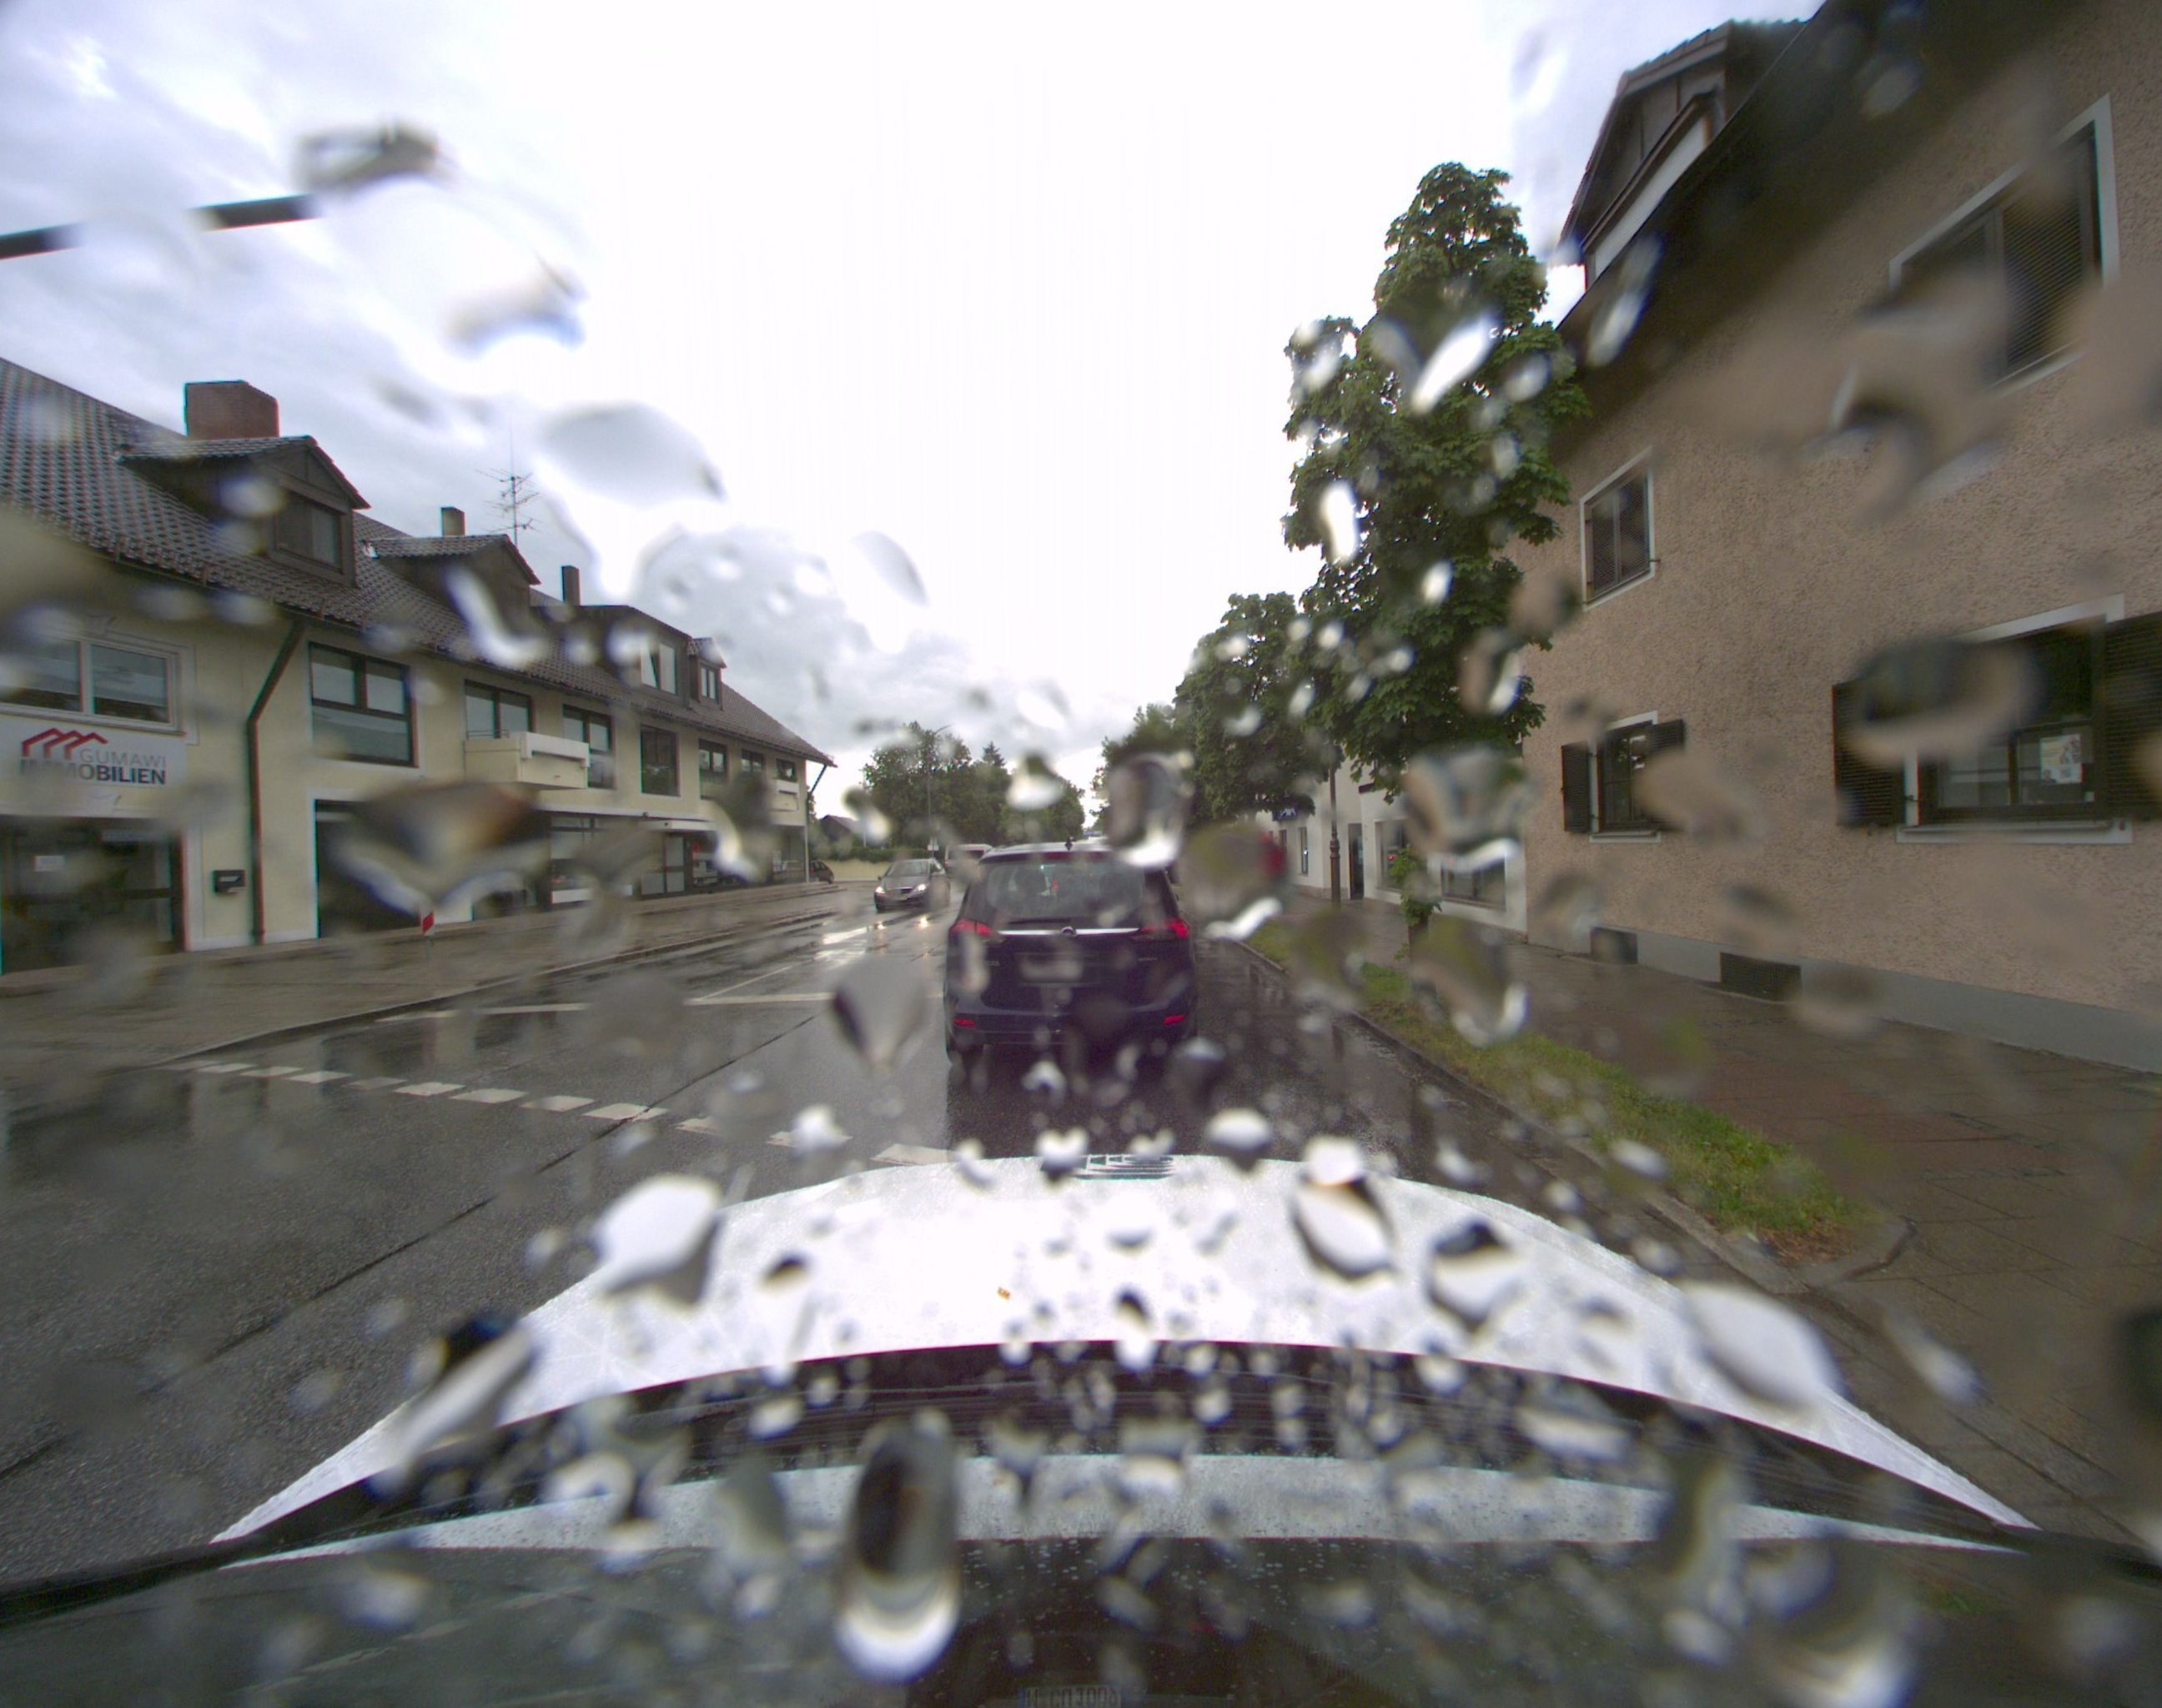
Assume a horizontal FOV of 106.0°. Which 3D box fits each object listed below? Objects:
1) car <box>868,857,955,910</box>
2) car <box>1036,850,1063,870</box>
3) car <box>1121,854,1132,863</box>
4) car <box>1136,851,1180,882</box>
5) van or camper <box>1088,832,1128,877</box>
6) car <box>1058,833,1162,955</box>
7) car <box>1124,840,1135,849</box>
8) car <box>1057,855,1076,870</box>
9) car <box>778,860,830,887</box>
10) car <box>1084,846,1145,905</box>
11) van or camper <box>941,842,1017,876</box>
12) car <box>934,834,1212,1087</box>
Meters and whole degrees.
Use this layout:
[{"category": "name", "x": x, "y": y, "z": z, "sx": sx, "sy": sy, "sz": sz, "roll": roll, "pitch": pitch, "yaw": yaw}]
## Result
[{"category": "car", "x": -5.491, "y": 0.906, "z": 26.862, "sx": 1.909, "sy": 1.533, "sz": 3.900, "roll": -2, "pitch": 0, "yaw": 2}, {"category": "car", "x": -2.644, "y": 0.517, "z": 69.479, "sx": 1.960, "sy": 1.563, "sz": 4.153, "roll": -3, "pitch": 0, "yaw": 2}, {"category": "car", "x": 7.411, "y": 0.726, "z": 132.723, "sx": 1.624, "sy": 1.378, "sz": 3.624, "roll": 0, "pitch": -1, "yaw": 2}, {"category": "car", "x": 4.104, "y": 0.653, "z": 43.881, "sx": 2.110, "sy": 1.581, "sz": 3.936, "roll": 0, "pitch": 0, "yaw": 1}, {"category": "van or camper", "x": 1.718, "y": 0.020, "z": 51.832, "sx": 2.351, "sy": 2.665, "sz": 5.374, "roll": -2, "pitch": 0, "yaw": 2}, {"category": "car", "x": 0.472, "y": 0.586, "z": 13.414, "sx": 1.494, "sy": 1.776, "sz": 3.113, "roll": 0, "pitch": 0, "yaw": 2}, {"category": "car", "x": 8.474, "y": -1.677, "z": 142.105, "sx": 1.624, "sy": 1.378, "sz": 3.624, "roll": -3, "pitch": 0, "yaw": 2}, {"category": "car", "x": -1.542, "y": 0.943, "z": 88.929, "sx": 1.920, "sy": 1.566, "sz": 4.127, "roll": -2, "pitch": 0, "yaw": 1}, {"category": "car", "x": -15.923, "y": 1.110, "z": 46.944, "sx": 1.601, "sy": 1.380, "sz": 3.510, "roll": -3, "pitch": 0, "yaw": 2}, {"category": "car", "x": 1.057, "y": 0.635, "z": 25.844, "sx": 1.749, "sy": 1.706, "sz": 3.620, "roll": -2, "pitch": 0, "yaw": 2}, {"category": "van or camper", "x": -8.636, "y": 0.432, "z": 69.508, "sx": 6.236, "sy": 2.707, "sz": 2.098, "roll": -2, "pitch": 0, "yaw": -5}, {"category": "car", "x": 0.005, "y": 0.676, "z": 7.014, "sx": 1.762, "sy": 1.604, "sz": 3.665, "roll": 0, "pitch": 0, "yaw": 2}]
